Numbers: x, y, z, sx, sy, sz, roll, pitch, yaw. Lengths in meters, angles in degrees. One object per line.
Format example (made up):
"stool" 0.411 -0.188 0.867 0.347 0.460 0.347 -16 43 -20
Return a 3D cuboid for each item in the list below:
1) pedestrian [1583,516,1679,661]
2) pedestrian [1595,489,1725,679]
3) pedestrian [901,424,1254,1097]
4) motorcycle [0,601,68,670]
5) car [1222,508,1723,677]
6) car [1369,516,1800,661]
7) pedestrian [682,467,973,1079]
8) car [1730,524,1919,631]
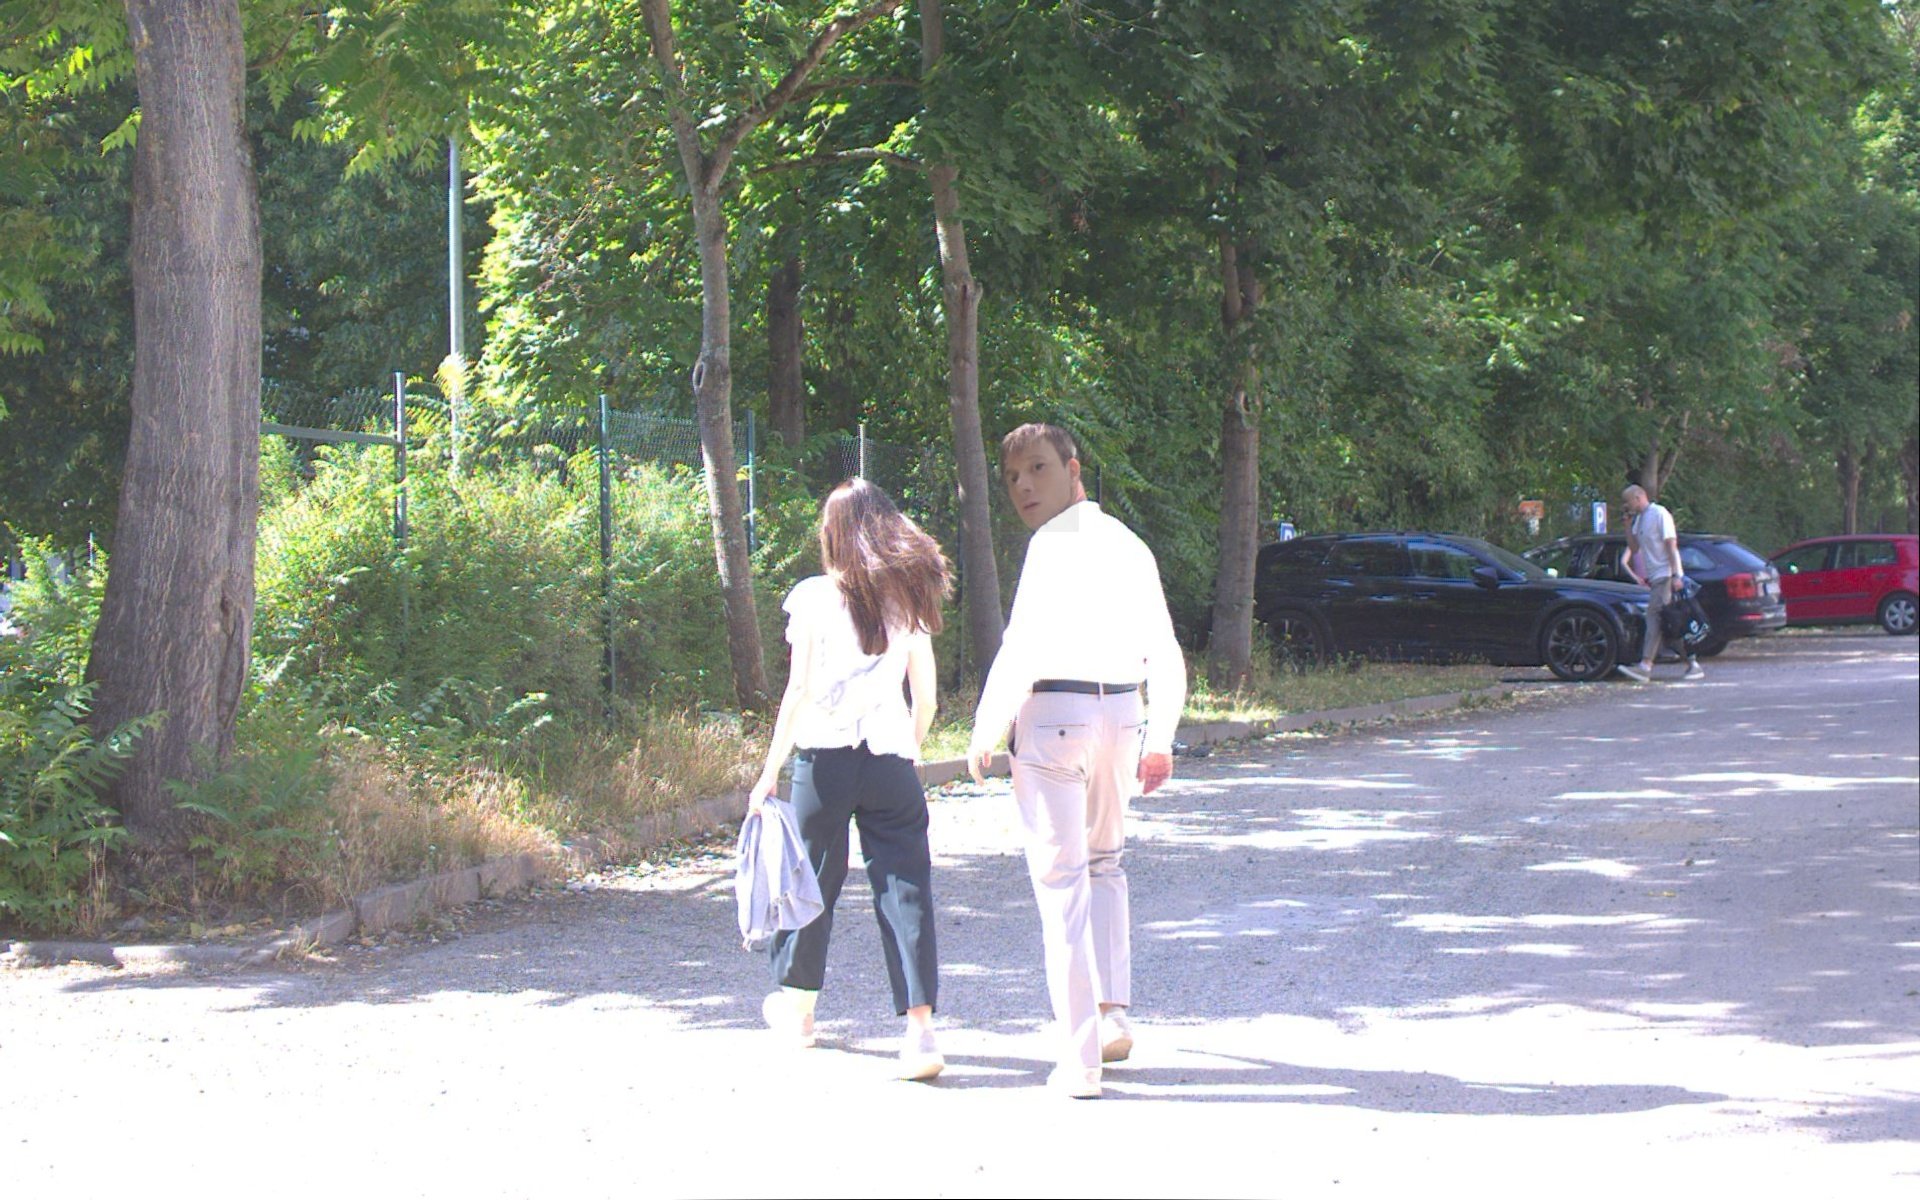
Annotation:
"pedestrian" 7.485 -0.133 38.320 0.925 1.589 0.785 0 2 20
"pedestrian" 6.647 -0.158 32.670 1.013 1.775 0.820 -1 1 -3
"pedestrian" 0.302 0.398 9.313 0.755 1.722 0.854 -1 2 -11
"motorcycle" -17.761 0.664 64.677 0.629 1.242 2.059 -1 1 29
"car" 5.150 -0.082 34.426 4.660 1.579 1.998 0 2 19
"car" 7.266 -0.139 39.947 4.660 1.579 1.998 0 2 19
"pedestrian" -0.386 0.454 9.660 0.735 1.634 0.781 -1 2 -6
"car" 13.598 -0.344 50.106 4.292 1.519 1.890 0 1 26
